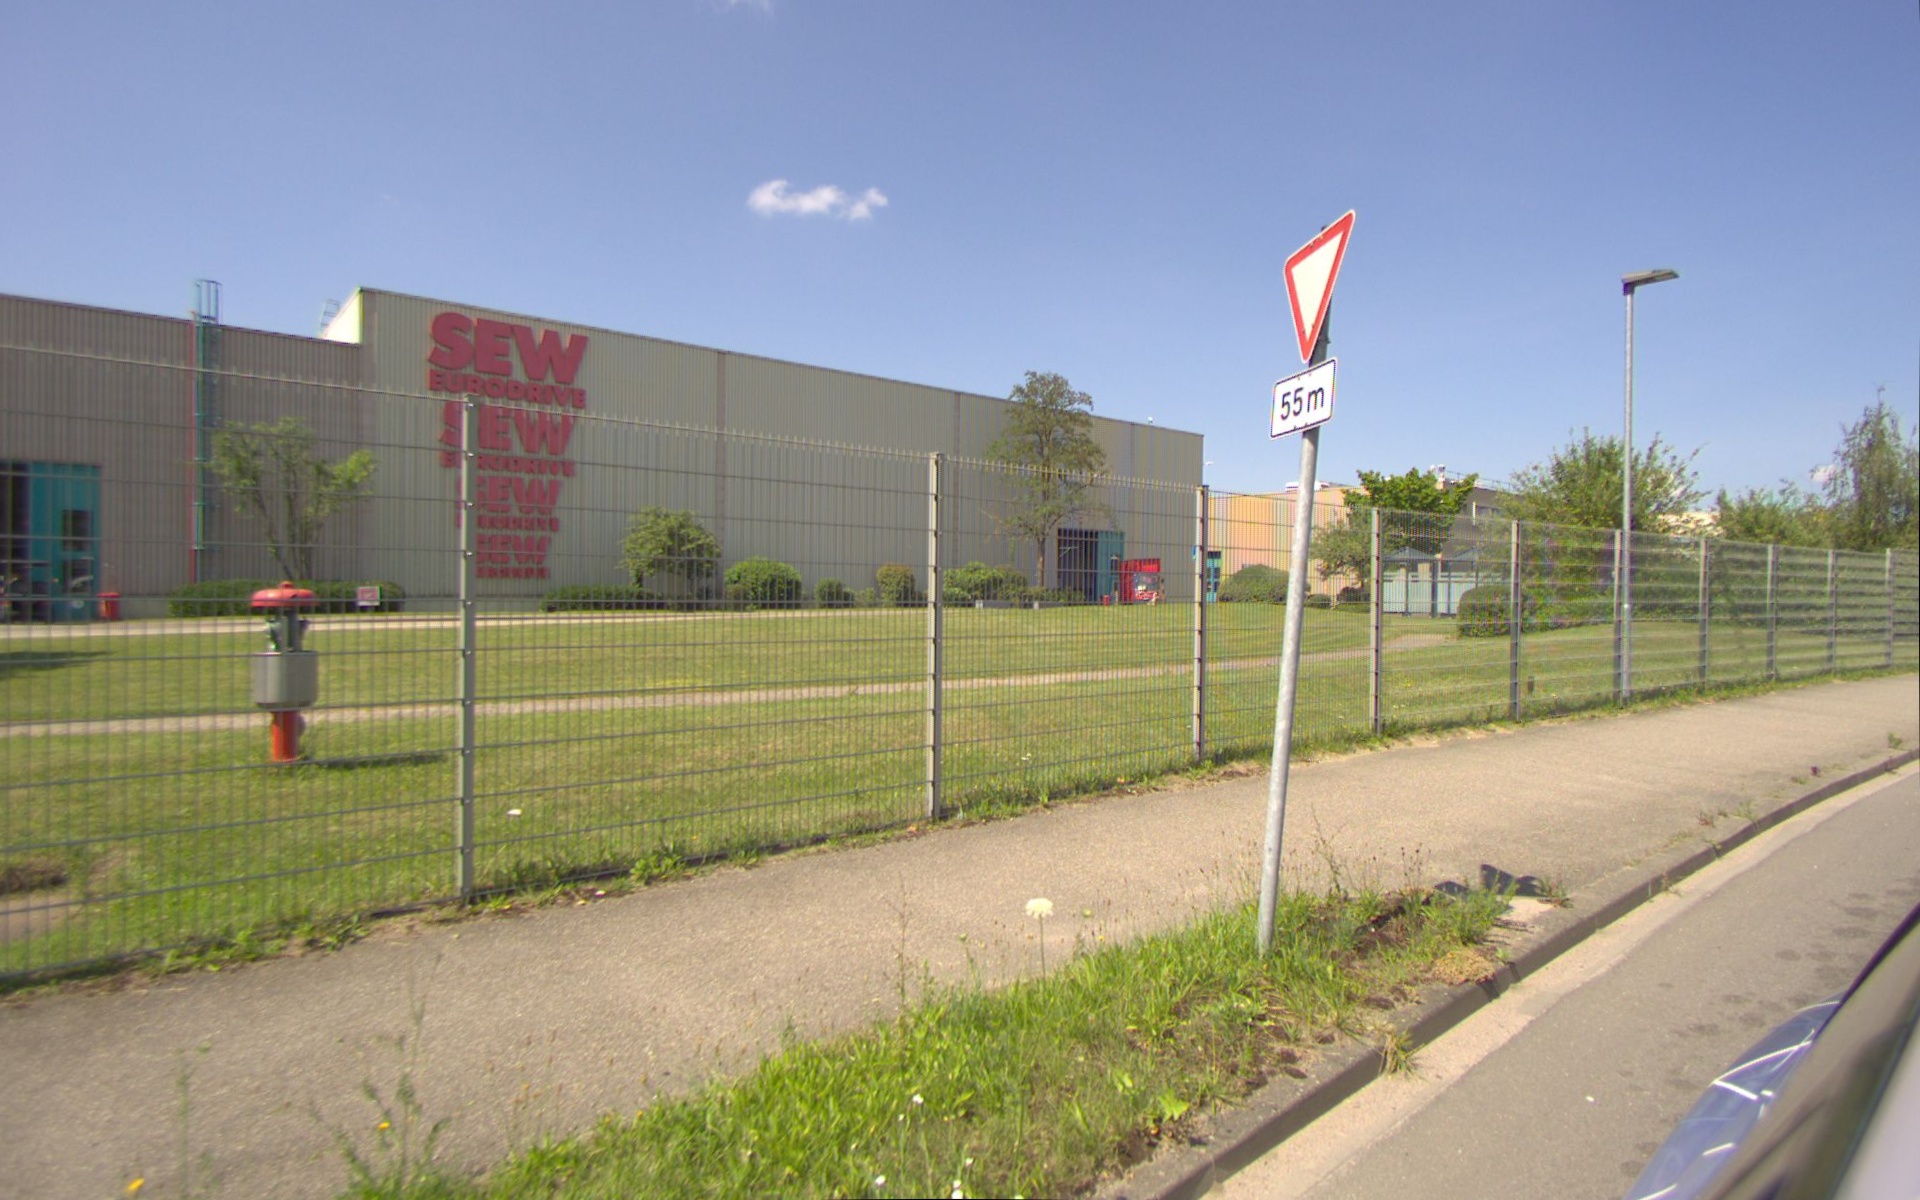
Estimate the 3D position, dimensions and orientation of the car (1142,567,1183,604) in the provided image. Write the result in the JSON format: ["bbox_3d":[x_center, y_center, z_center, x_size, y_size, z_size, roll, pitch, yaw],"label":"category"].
[{"bbox_3d":[10.467,-0.774,52.477,1.870,1.838,3.990,0,1,9],"label":"car"}]

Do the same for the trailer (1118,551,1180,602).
[{"bbox_3d":[10.622,-1.334,57.437,1.960,2.755,5.994,0,1,-4],"label":"trailer"}]

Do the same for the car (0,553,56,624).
[{"bbox_3d":[-28.667,-0.374,30.572,1.937,2.039,4.167,0,1,-40],"label":"car"}]
